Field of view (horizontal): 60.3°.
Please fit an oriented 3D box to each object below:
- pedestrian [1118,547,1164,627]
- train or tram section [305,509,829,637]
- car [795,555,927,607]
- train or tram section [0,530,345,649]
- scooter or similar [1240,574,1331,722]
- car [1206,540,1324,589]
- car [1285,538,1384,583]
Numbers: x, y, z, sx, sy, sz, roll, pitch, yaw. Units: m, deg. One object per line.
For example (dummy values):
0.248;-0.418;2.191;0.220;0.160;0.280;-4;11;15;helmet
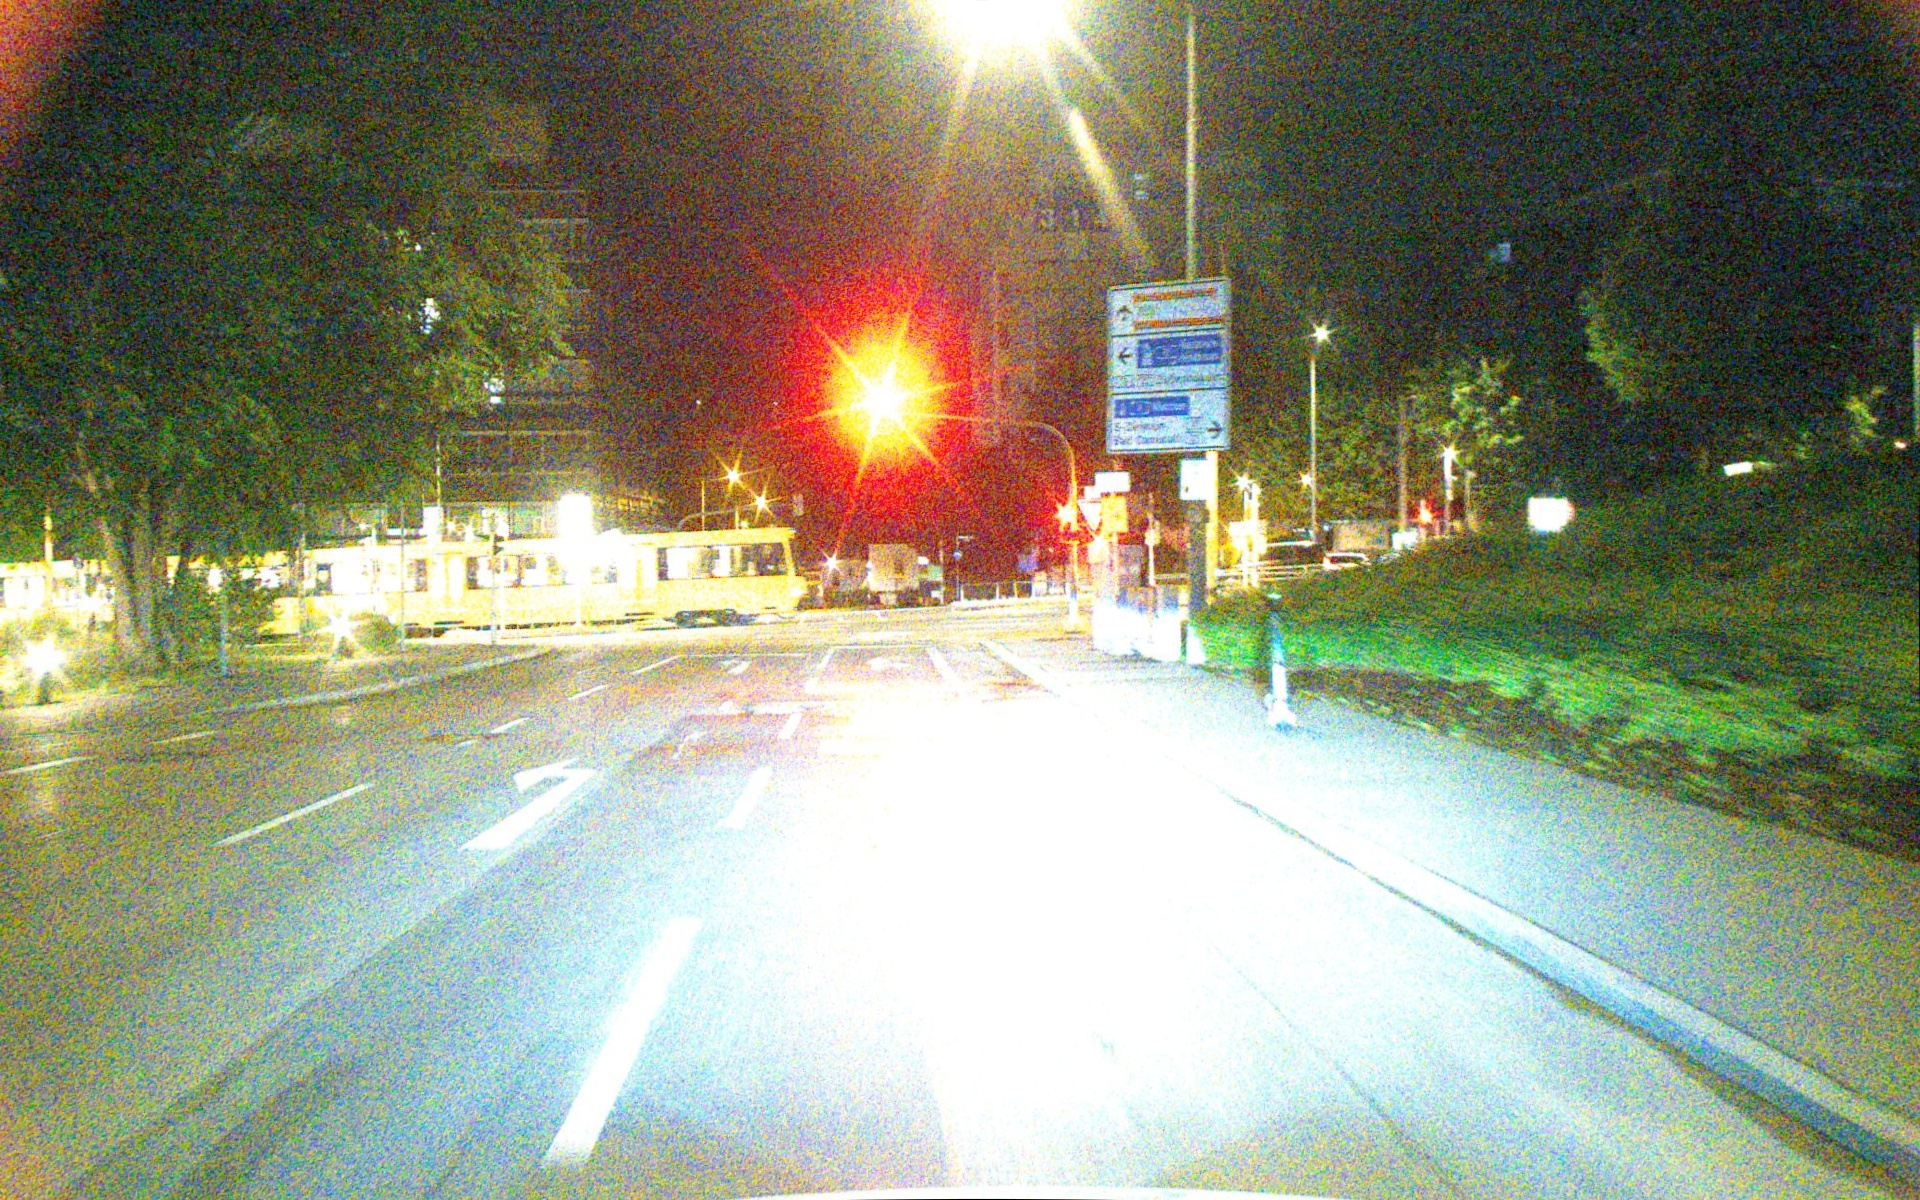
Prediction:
4.078;-0.289;37.343;0.881;1.742;0.775;-3;0;3;pedestrian
-14.467;-0.984;61.630;18.774;3.889;2.925;-2;1;3;train or tram section
-9.862;-1.887;164.470;12.190;4.791;4.787;-2;1;-17;car
-33.451;-0.240;62.439;19.381;3.929;2.941;-2;1;3;train or tram section
2.996;0.415;15.316;0.484;1.283;1.319;-4;1;-2;scooter or similar
12.707;-1.481;69.067;4.518;1.668;2.001;-4;1;2;car
16.440;-1.746;72.820;3.973;1.643;1.870;-4;1;6;car
